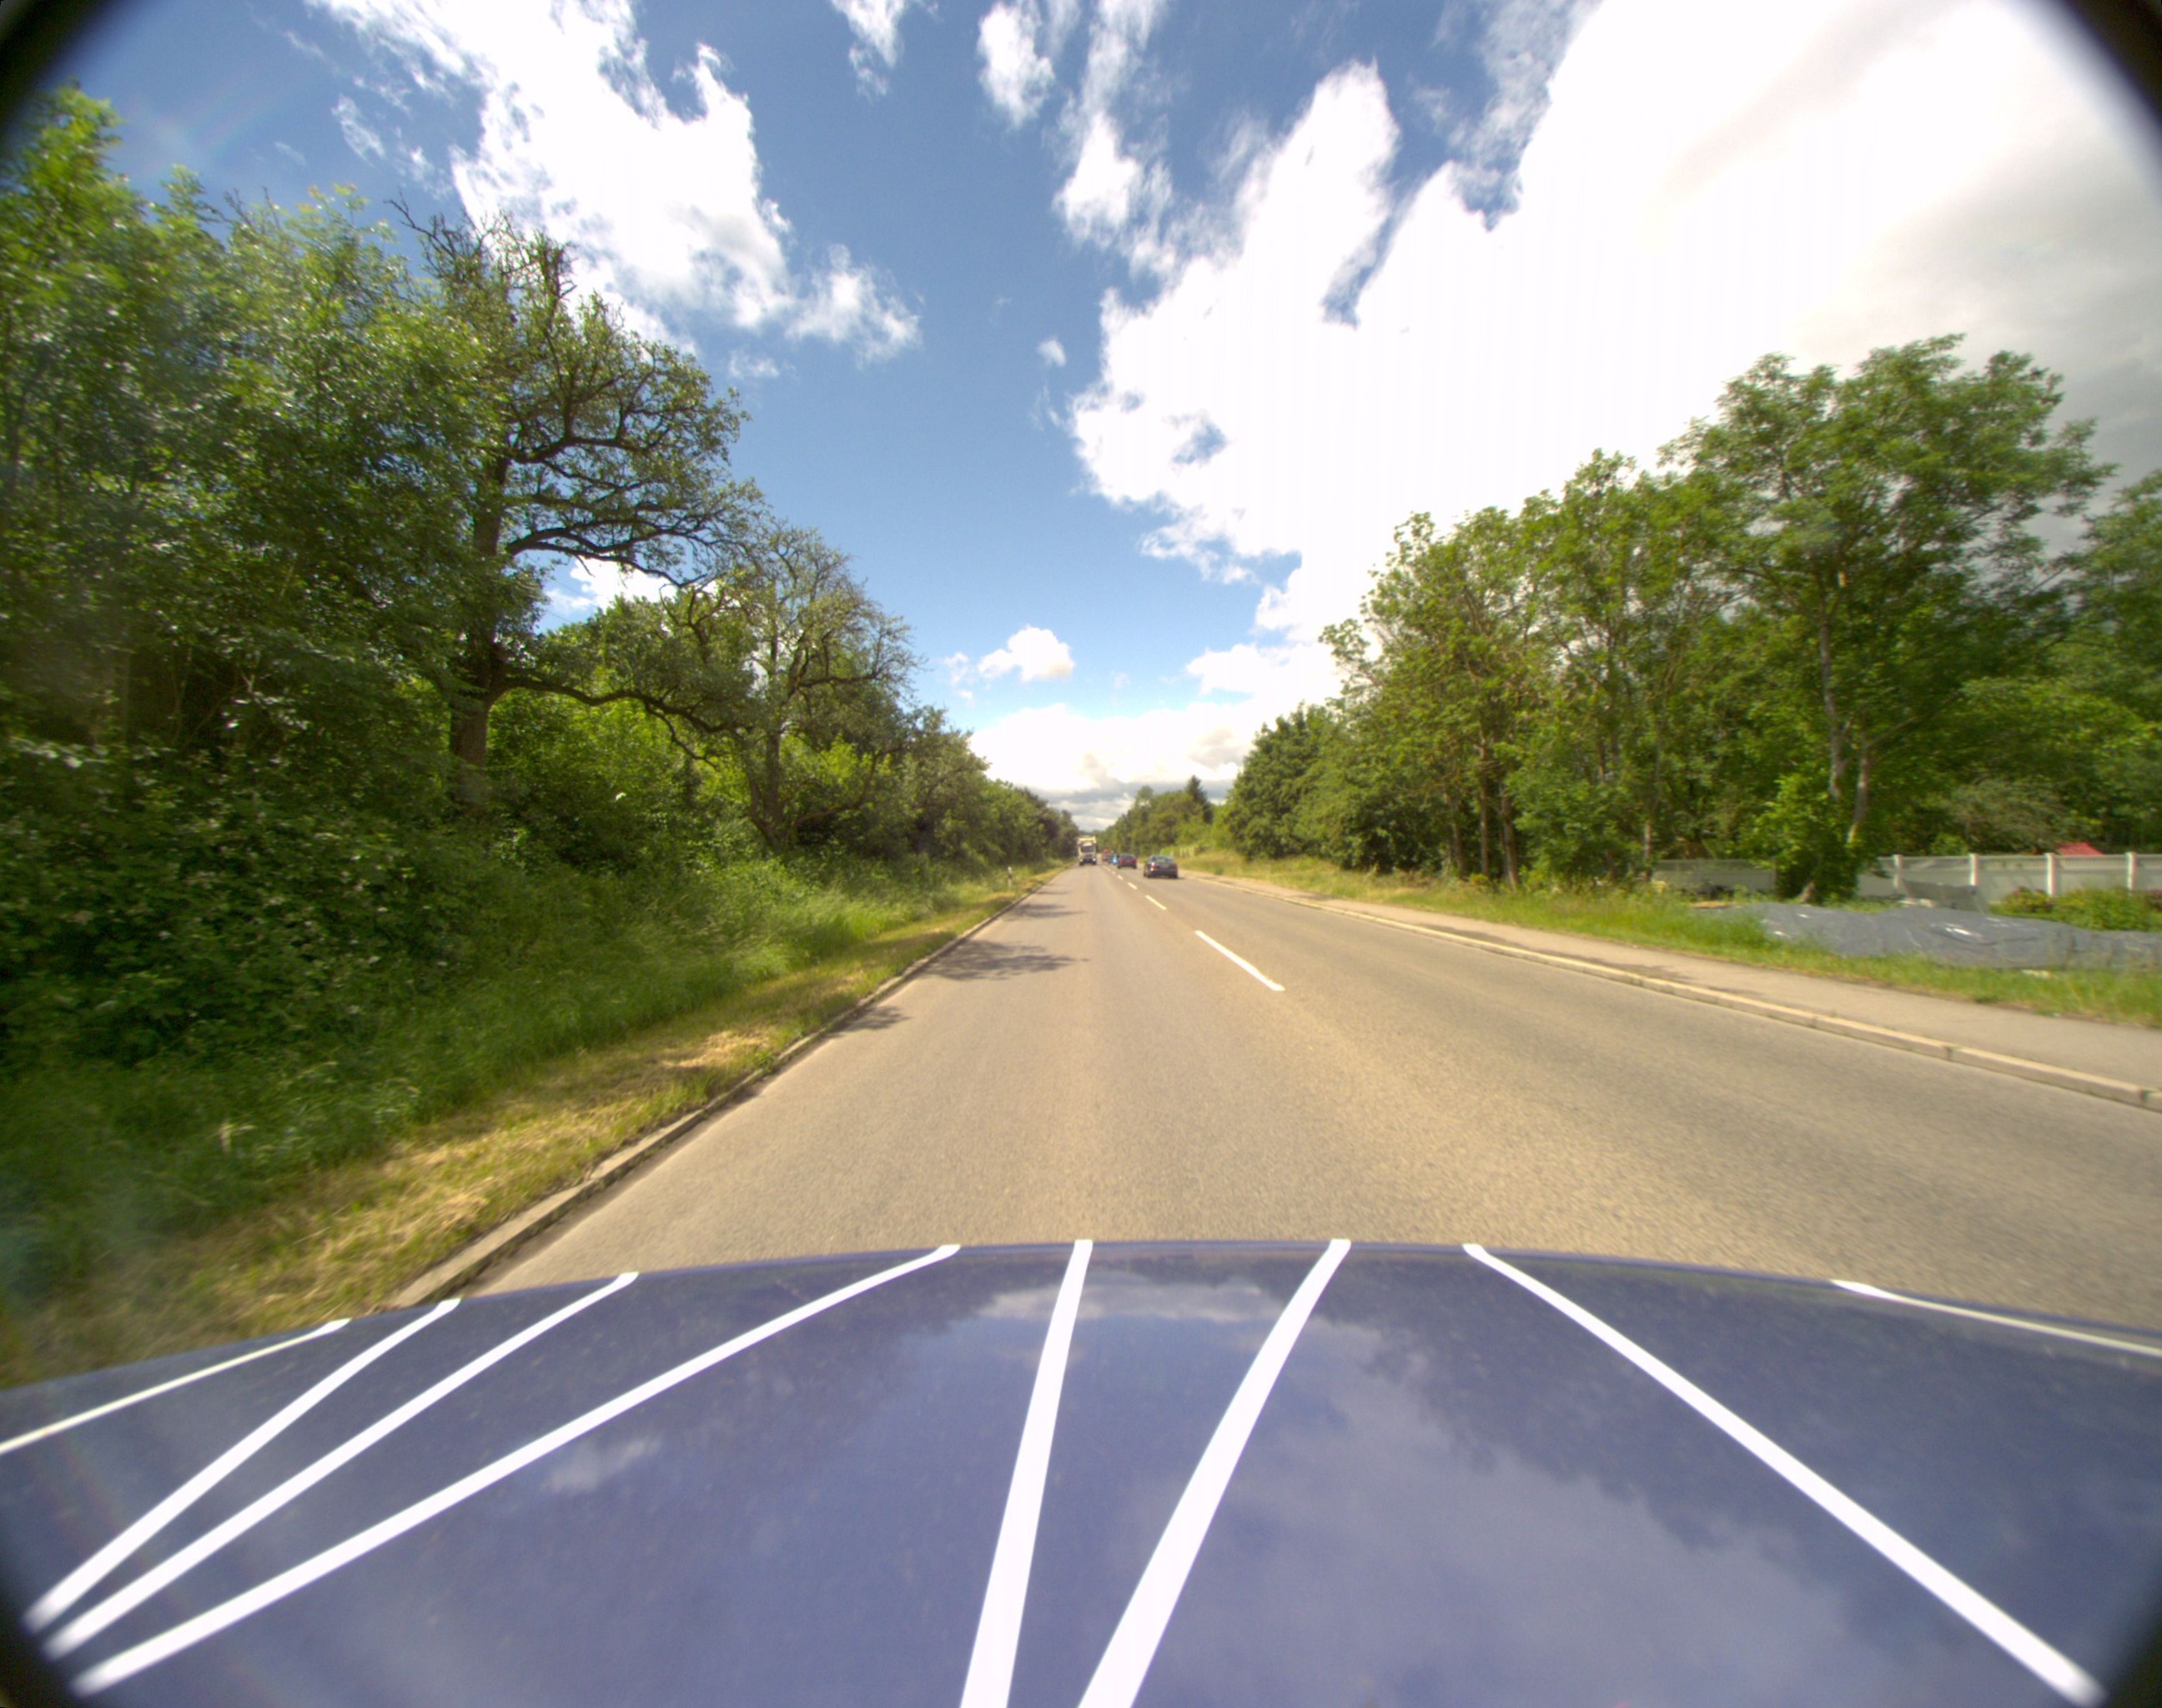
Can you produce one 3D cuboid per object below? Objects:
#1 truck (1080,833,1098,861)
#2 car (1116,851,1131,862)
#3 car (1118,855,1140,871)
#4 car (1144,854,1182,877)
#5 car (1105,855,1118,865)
[{"bbox_3d":[1.153,-0.968,108.251,2.306,3.790,8.183,-3,0,0],"label":"truck"},{"bbox_3d":[5.724,0.326,102.993,1.789,1.438,2.966,1,0,-1],"label":"car"},{"bbox_3d":[4.828,0.894,76.781,1.889,1.483,4.717,1,0,-1],"label":"car"},{"bbox_3d":[4.983,0.681,46.635,1.789,1.326,4.622,1,0,-1],"label":"car"},{"bbox_3d":[4.864,0.948,120.765,1.789,1.438,4.452,1,0,-1],"label":"car"}]
